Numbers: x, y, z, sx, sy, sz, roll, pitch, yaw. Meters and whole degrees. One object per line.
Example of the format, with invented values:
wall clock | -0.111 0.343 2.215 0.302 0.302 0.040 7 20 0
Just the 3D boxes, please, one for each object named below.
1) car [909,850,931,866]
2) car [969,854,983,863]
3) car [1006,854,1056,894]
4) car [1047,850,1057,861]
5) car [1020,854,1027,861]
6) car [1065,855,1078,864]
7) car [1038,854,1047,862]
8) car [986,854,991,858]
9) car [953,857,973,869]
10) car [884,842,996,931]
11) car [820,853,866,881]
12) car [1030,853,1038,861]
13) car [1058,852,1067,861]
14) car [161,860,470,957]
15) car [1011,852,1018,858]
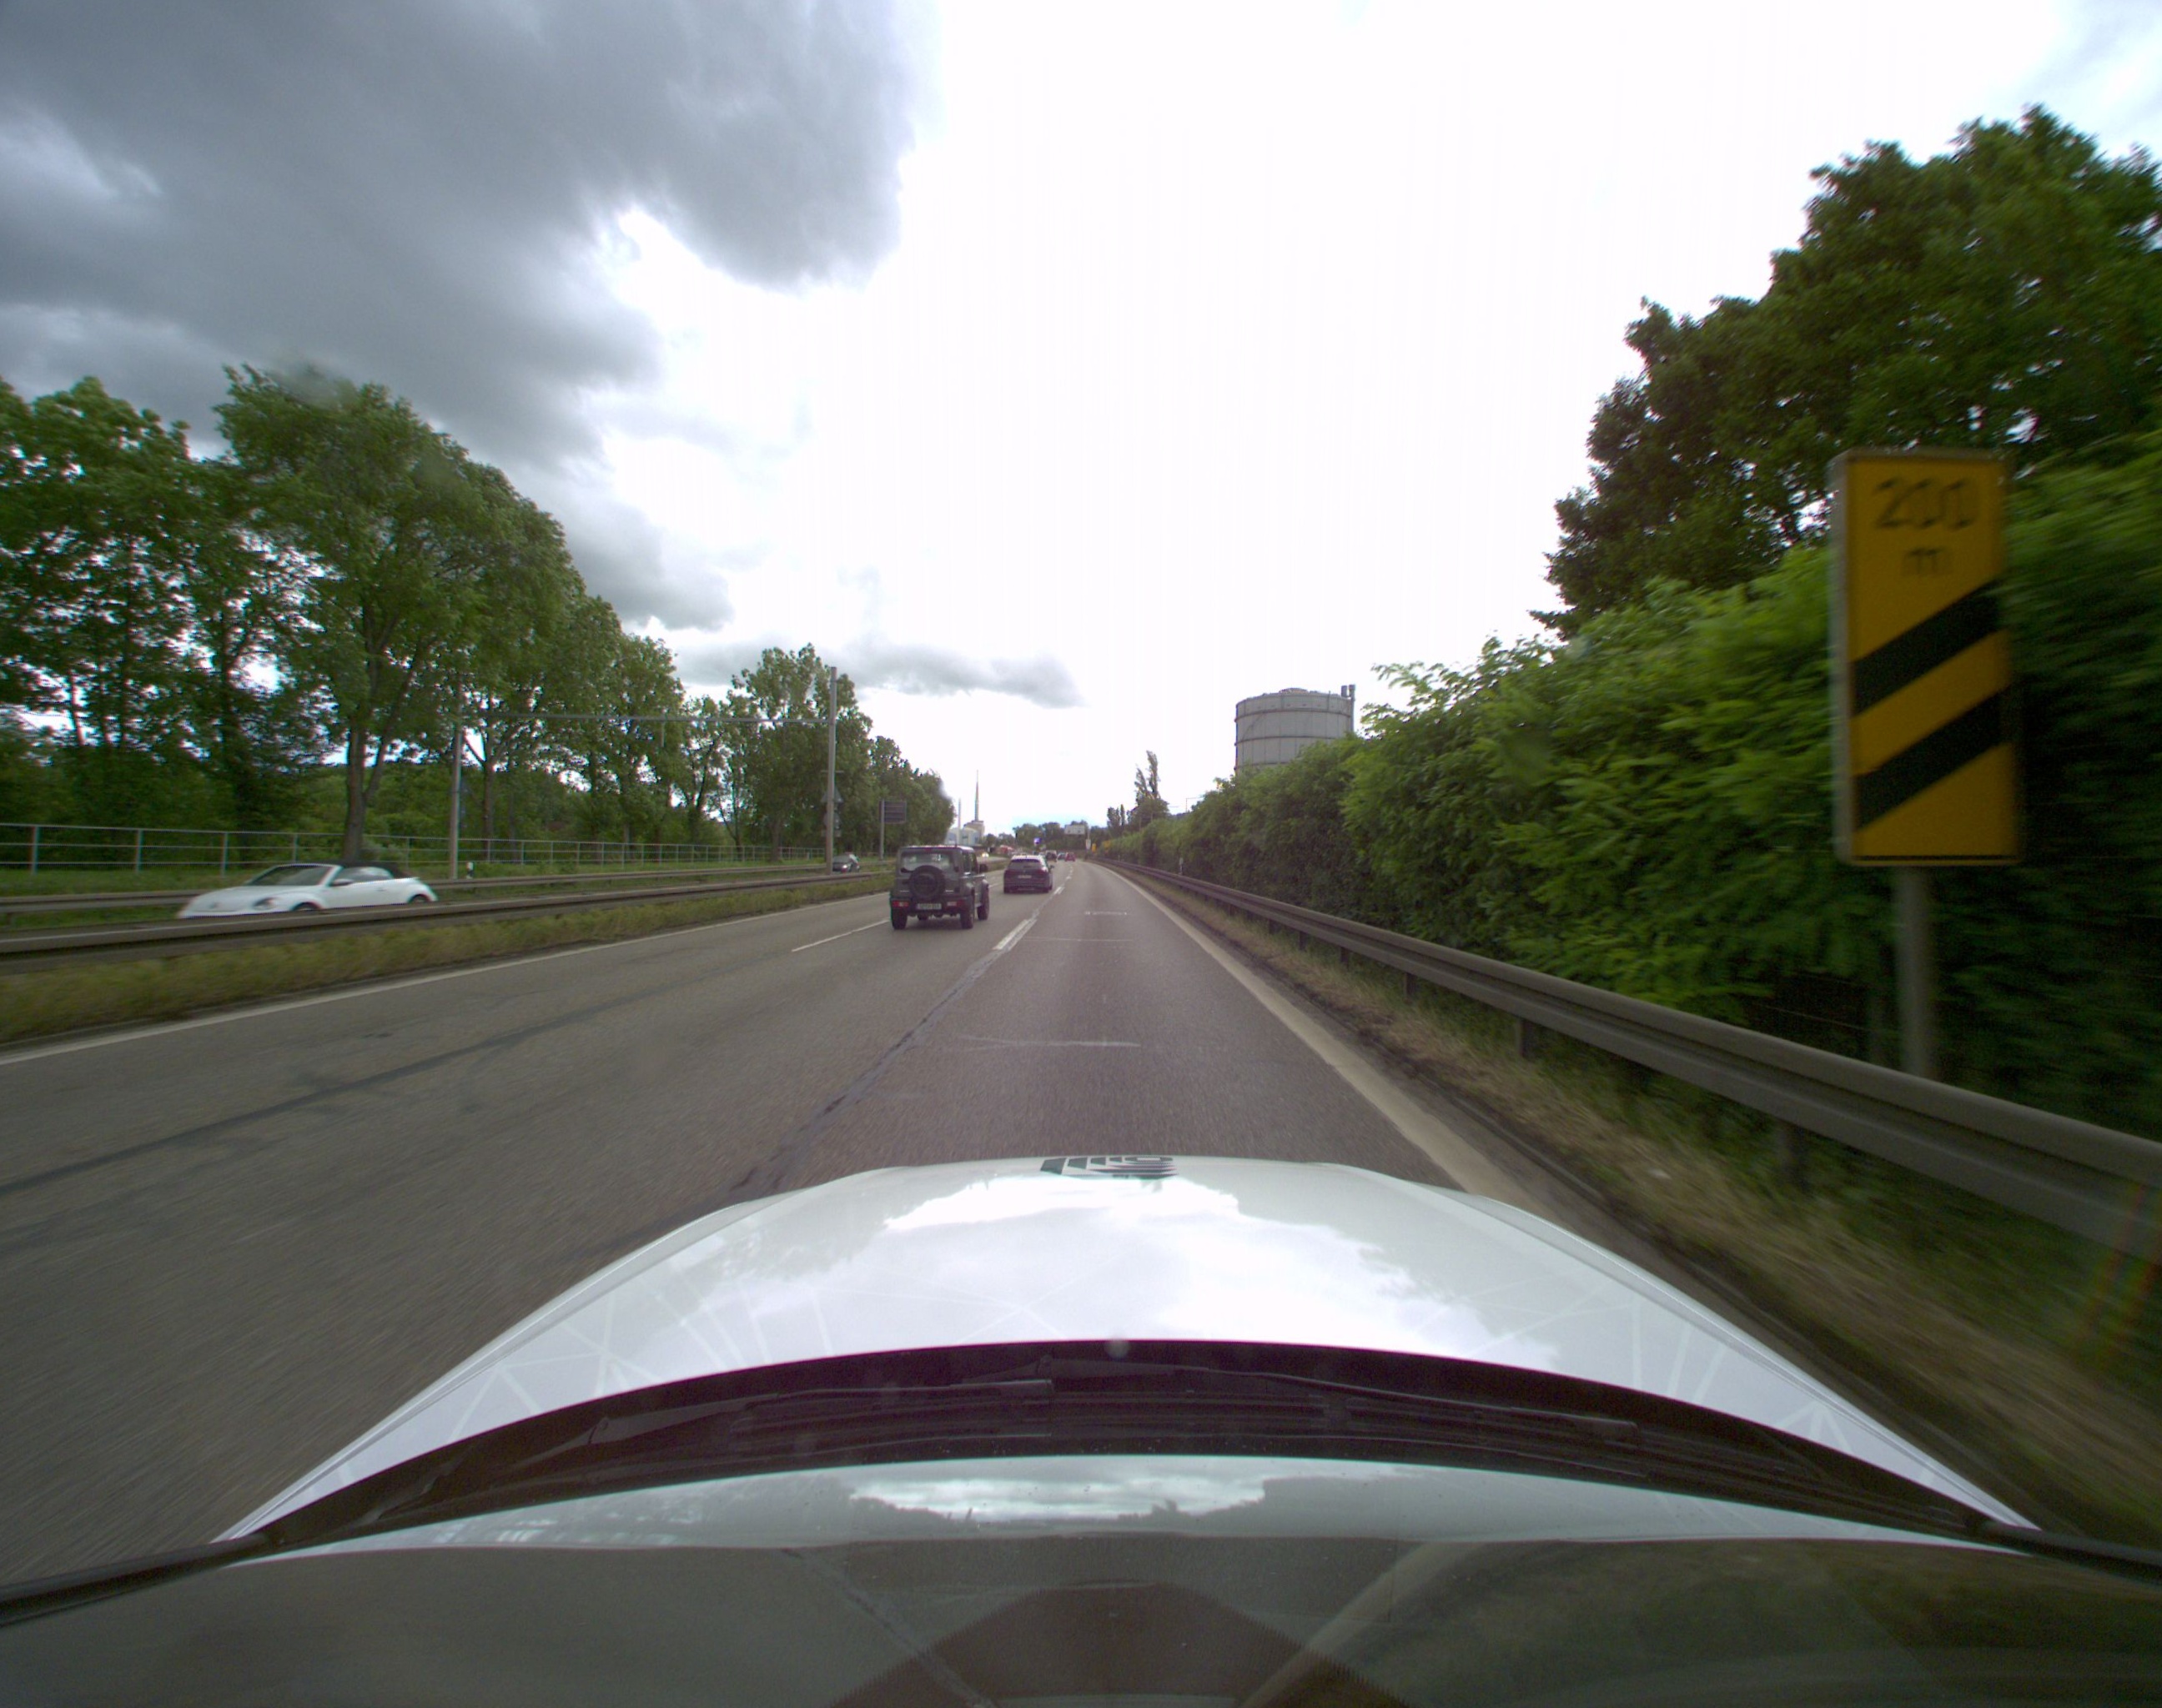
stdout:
car | -18.645 0.471 94.430 1.605 1.883 4.560 0 0 0
car | -15.536 0.679 120.737 1.655 1.424 3.910 0 0 0
car | -2.011 0.740 32.671 1.841 1.423 4.893 1 0 -4
car | -4.702 0.170 132.189 1.694 1.742 3.996 0 0 -3
car | -15.289 0.848 217.614 1.696 1.742 4.382 0 0 -7
car | -1.672 0.982 144.180 1.970 1.423 4.893 0 0 -4
car | -9.374 1.011 200.226 2.010 1.934 4.892 0 0 -5
car | -29.304 0.647 257.710 1.611 1.386 3.727 1 0 -4
car | -15.038 1.134 103.950 1.855 1.465 5.549 0 0 0
car | -2.932 0.628 17.737 1.692 1.686 4.000 -1 0 0
car | -15.278 0.818 52.506 1.720 1.775 3.743 0 0 2
car | -12.679 0.828 219.657 2.011 1.934 4.888 0 0 -7
car | -3.948 0.503 169.828 1.694 1.742 4.387 0 0 -4
car | -15.361 0.984 16.816 1.860 1.674 4.719 0 0 1
car | -21.109 0.326 258.495 2.011 1.934 4.889 0 0 -7
